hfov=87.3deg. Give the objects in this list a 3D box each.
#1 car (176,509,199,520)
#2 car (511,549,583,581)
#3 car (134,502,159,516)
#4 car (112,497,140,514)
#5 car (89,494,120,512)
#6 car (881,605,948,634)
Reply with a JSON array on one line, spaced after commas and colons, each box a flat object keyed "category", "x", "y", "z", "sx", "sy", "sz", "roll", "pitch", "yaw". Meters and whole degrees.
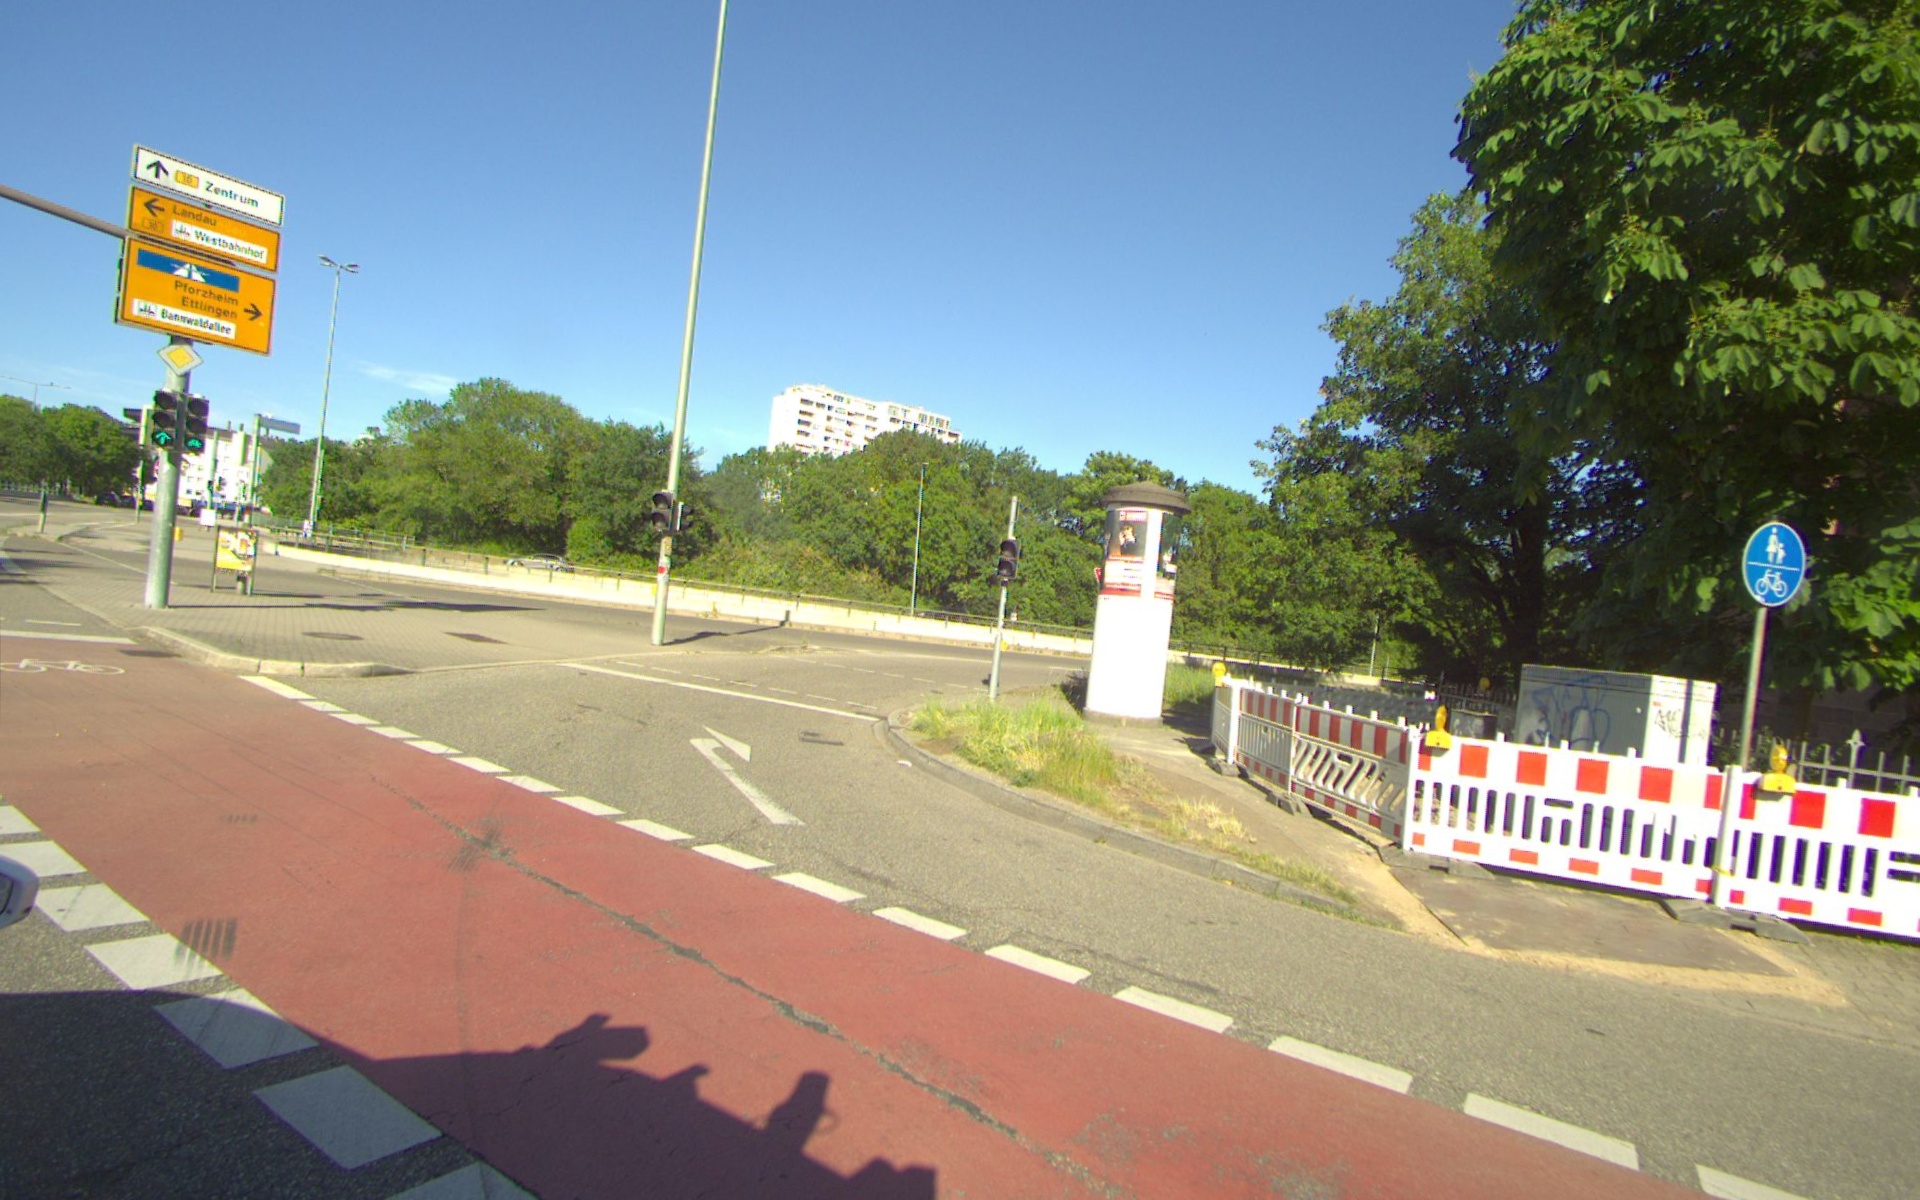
[{"category": "car", "x": -139.071, "y": -15.342, "z": 181.089, "sx": 1.923, "sy": 1.547, "sz": 4.080, "roll": 7, "pitch": 0, "yaw": -19}, {"category": "car", "x": -26.981, "y": -2.283, "z": 65.812, "sx": 4.187, "sy": 1.571, "sz": 1.851, "roll": 7, "pitch": 0, "yaw": -22}, {"category": "car", "x": -108.933, "y": -12.212, "z": 134.727, "sx": 1.932, "sy": 1.547, "sz": 4.062, "roll": 7, "pitch": 0, "yaw": -32}, {"category": "car", "x": -99.366, "y": -11.234, "z": 119.835, "sx": 1.932, "sy": 1.547, "sz": 4.062, "roll": 7, "pitch": 0, "yaw": -33}, {"category": "car", "x": -91.424, "y": -10.382, "z": 107.556, "sx": 1.932, "sy": 1.547, "sz": 4.061, "roll": 7, "pitch": 0, "yaw": -33}, {"category": "car", "x": -3.482, "y": 1.506, "z": 76.921, "sx": 4.609, "sy": 1.636, "sz": 1.854, "roll": 7, "pitch": 0, "yaw": -18}]
